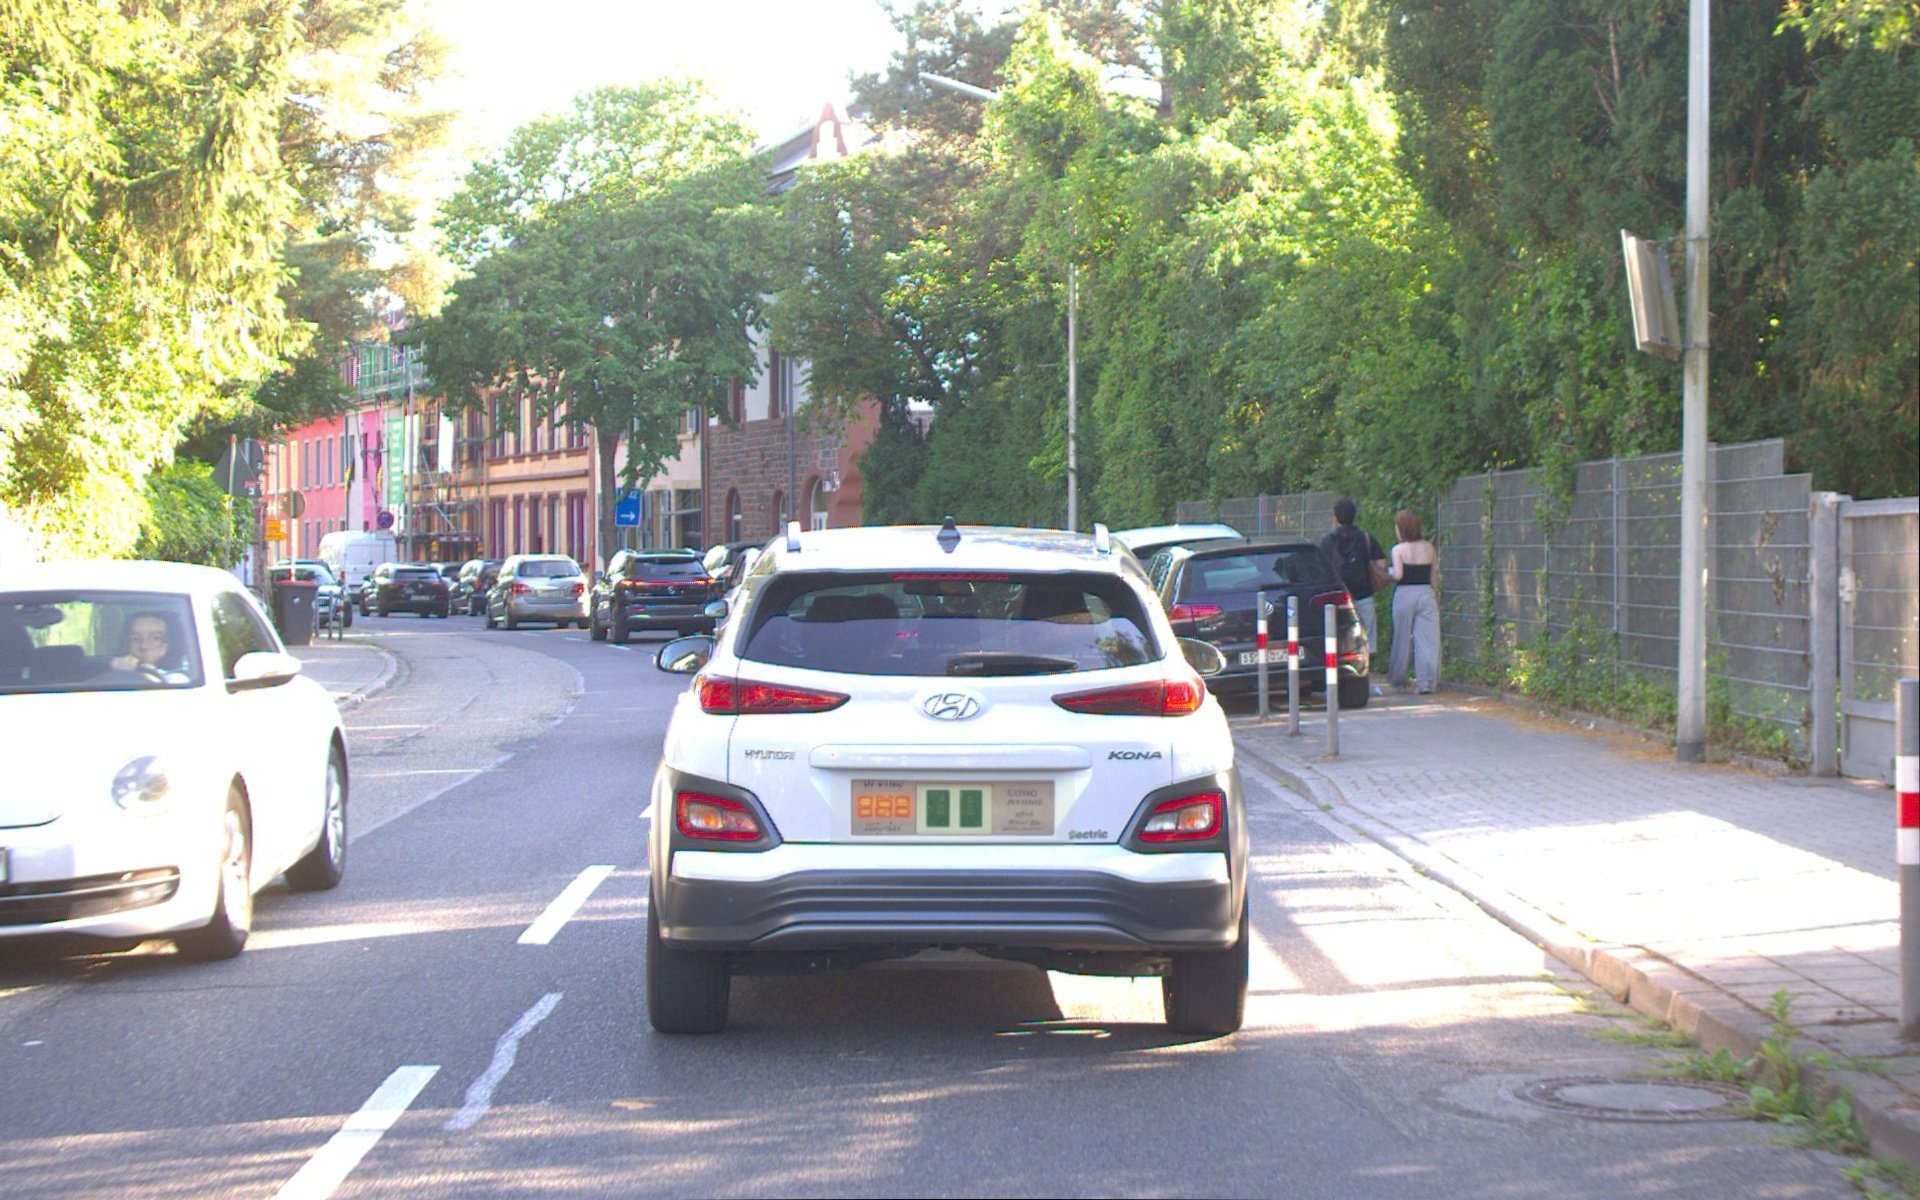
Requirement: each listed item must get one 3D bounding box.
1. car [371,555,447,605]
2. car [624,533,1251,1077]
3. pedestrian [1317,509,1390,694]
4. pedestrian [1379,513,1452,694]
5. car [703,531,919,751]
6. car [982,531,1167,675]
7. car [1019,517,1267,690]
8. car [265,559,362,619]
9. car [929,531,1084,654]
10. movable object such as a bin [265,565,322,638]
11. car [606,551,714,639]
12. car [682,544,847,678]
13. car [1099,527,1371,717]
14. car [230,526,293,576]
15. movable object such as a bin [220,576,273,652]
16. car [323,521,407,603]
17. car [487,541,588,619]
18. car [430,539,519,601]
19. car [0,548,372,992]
[{"bbox_3d":[-14.484,-0.540,90.321,1.526,1.256,3.362,-1,1,-17],"label":"car"},{"bbox_3d":[-0.074,0.550,11.725,1.772,1.537,4.000,0,1,0],"label":"car"},{"bbox_3d":[3.477,0.012,30.408,0.503,1.601,0.491,-3,1,-1],"label":"pedestrian"},{"bbox_3d":[4.021,0.024,30.353,0.503,1.563,0.503,-3,1,-1],"label":"pedestrian"},{"bbox_3d":[-1.154,0.258,26.191,1.511,1.528,3.548,-1,1,-3],"label":"car"},{"bbox_3d":[1.290,0.013,40.261,1.593,1.514,3.933,-3,1,-5],"label":"car"},{"bbox_3d":[1.771,0.016,34.546,1.593,1.560,4.001,-3,1,-9],"label":"car"},{"bbox_3d":[-14.665,-0.261,77.897,1.592,1.313,3.813,0,1,-20],"label":"car"},{"bbox_3d":[0.580,-0.135,45.589,1.593,1.484,3.603,-3,1,-5],"label":"car"},{"bbox_3d":[-11.011,0.023,56.821,0.792,1.185,0.773,1,0,-2],"label":"movable object such as a bin"},{"bbox_3d":[-5.196,-0.109,59.276,1.592,1.456,3.100,-1,1,-9],"label":"car"},{"bbox_3d":[-2.321,0.098,40.162,1.570,1.472,3.549,0,1,-9],"label":"car"},{"bbox_3d":[2.266,0.139,29.268,1.686,1.426,4.001,-3,1,-4],"label":"car"},{"bbox_3d":[-27.897,-1.953,137.262,1.717,1.929,4.001,-2,1,-22],"label":"car"},{"bbox_3d":[-9.709,0.185,46.813,0.495,1.008,1.113,1,0,-1],"label":"movable object such as a bin"},{"bbox_3d":[-19.585,-1.250,113.048,1.928,2.574,4.395,-2,1,-20],"label":"car"},{"bbox_3d":[-8.975,-0.437,72.903,1.589,1.577,3.362,-1,1,-16],"label":"car"},{"bbox_3d":[-13.428,-0.838,94.946,1.755,1.611,4.001,0,2,-18],"label":"car"},{"bbox_3d":[-3.569,0.568,13.705,1.741,1.469,4.000,-2,1,0],"label":"car"}]
